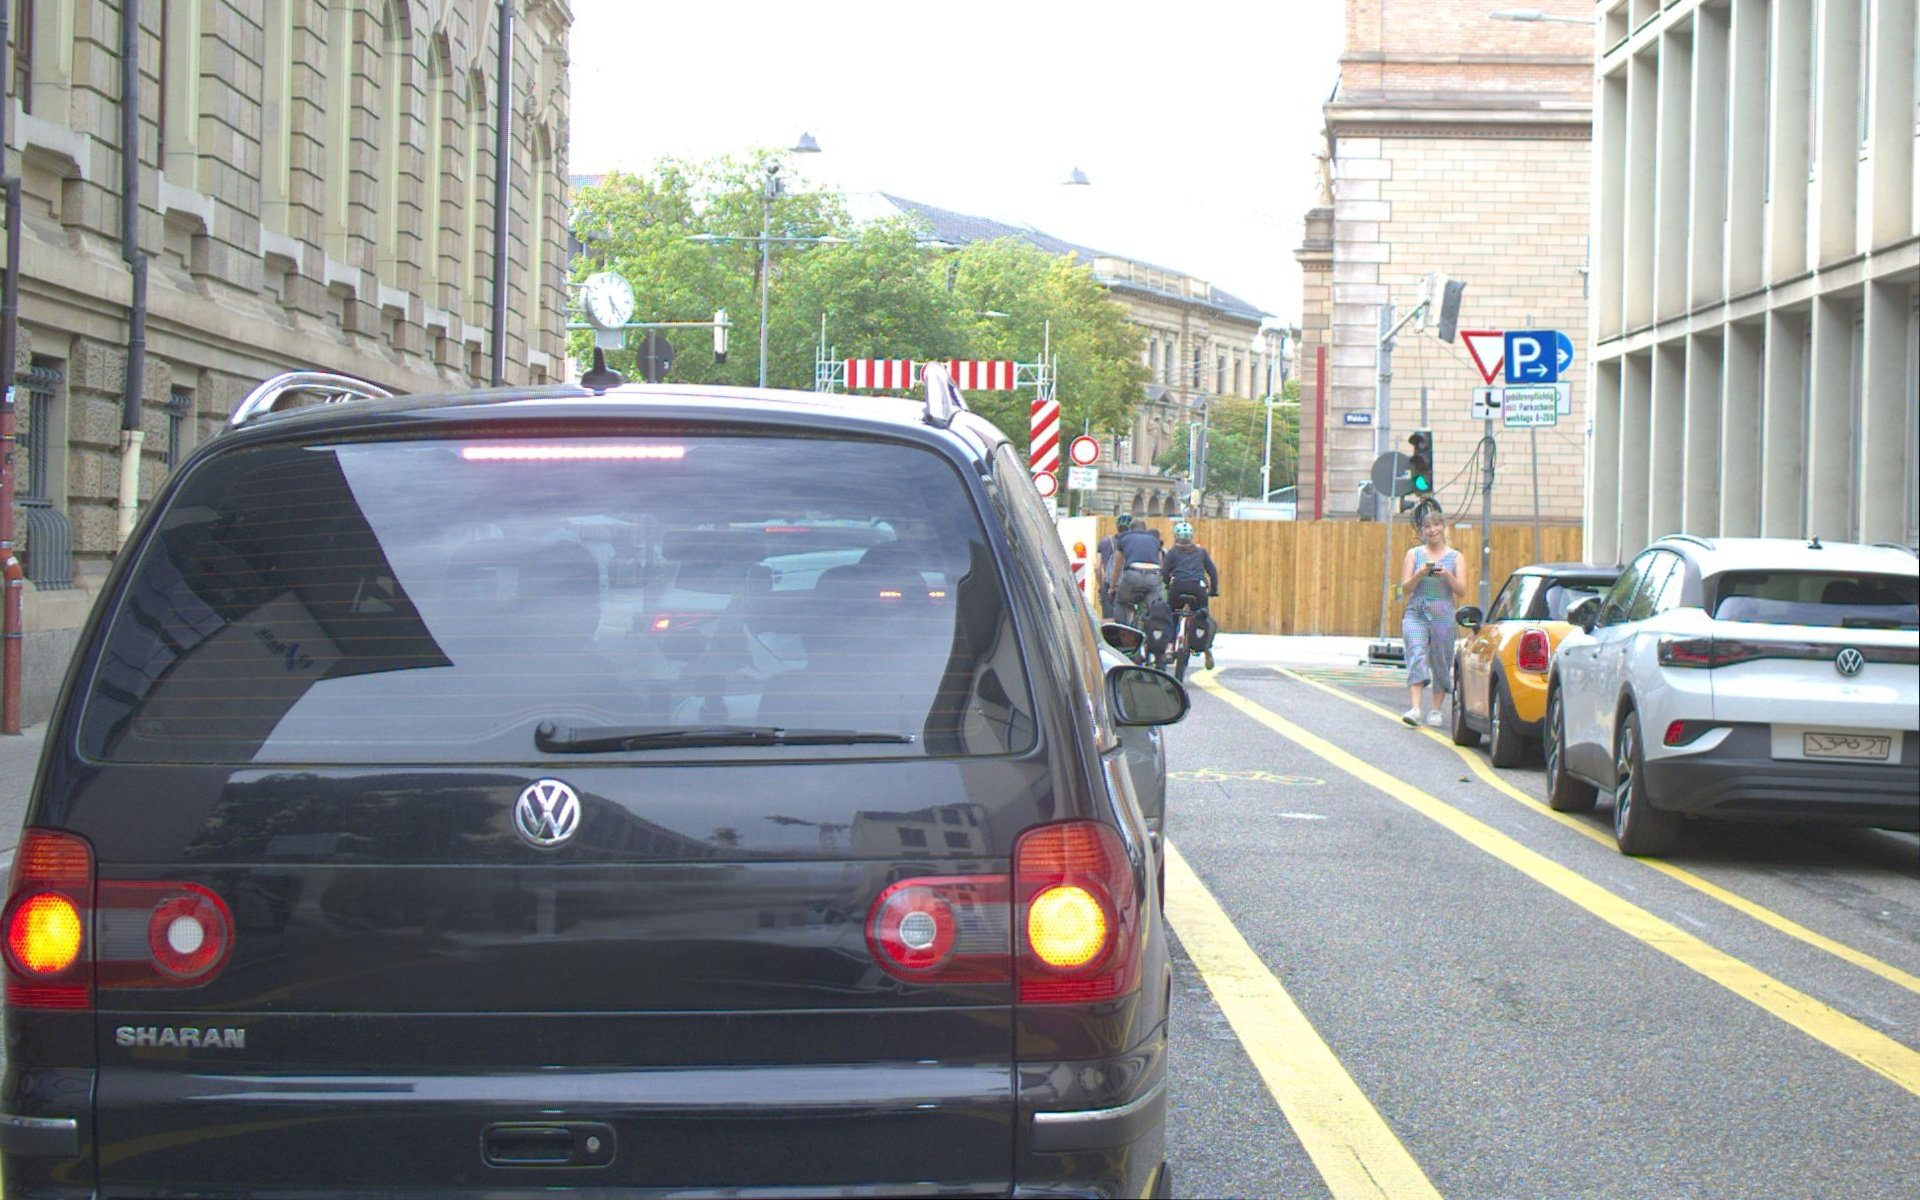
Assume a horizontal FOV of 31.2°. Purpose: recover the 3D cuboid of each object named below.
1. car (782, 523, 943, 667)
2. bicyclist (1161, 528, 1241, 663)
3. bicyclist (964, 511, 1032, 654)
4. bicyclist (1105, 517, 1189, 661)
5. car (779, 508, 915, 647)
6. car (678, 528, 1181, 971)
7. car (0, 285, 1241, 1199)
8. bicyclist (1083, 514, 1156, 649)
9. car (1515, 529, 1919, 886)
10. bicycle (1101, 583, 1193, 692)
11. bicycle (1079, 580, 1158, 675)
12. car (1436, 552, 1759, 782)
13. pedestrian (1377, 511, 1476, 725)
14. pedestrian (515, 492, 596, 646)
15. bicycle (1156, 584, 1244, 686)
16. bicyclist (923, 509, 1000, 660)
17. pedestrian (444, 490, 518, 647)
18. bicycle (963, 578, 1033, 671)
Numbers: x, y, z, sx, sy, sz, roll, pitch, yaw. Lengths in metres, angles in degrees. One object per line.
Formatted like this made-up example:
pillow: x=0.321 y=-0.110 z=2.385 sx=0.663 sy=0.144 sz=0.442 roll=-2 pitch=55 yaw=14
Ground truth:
car: x=-1.107 y=-0.071 z=40.279 sx=1.773 sy=1.580 sz=4.000 roll=1 pitch=1 yaw=-1
bicyclist: x=2.487 y=-0.053 z=35.556 sx=0.735 sy=1.371 sz=0.832 roll=1 pitch=0 yaw=-1
bicyclist: x=0.429 y=-0.197 z=39.156 sx=0.735 sy=1.606 sz=0.695 roll=1 pitch=0 yaw=-1
bicyclist: x=1.814 y=-0.109 z=33.440 sx=0.735 sy=1.372 sz=0.829 roll=1 pitch=0 yaw=-1
car: x=-1.594 y=-0.320 z=47.281 sx=1.734 sy=1.784 sz=4.104 roll=1 pitch=1 yaw=-3
car: x=-0.026 y=0.484 z=13.739 sx=1.678 sy=1.464 sz=4.103 roll=1 pitch=1 yaw=2
car: x=-0.463 y=0.468 z=6.621 sx=1.790 sy=1.784 sz=4.103 roll=1 pitch=1 yaw=2
bicyclist: x=1.763 y=-0.207 z=38.094 sx=0.735 sy=1.465 sz=0.809 roll=1 pitch=0 yaw=-1
car: x=4.257 y=0.504 z=18.534 sx=1.860 sy=1.599 sz=4.512 roll=4 pitch=1 yaw=2
bicycle: x=1.804 y=0.351 z=33.409 sx=0.735 sy=1.005 sz=2.069 roll=1 pitch=1 yaw=-1
bicycle: x=1.748 y=0.291 z=38.173 sx=0.735 sy=1.005 sz=2.069 roll=1 pitch=1 yaw=-1
car: x=4.549 y=0.427 z=25.028 sx=1.680 sy=1.430 sz=3.886 roll=4 pitch=1 yaw=2
pedestrian: x=3.892 y=0.145 z=28.717 sx=0.703 sy=1.757 sz=0.700 roll=1 pitch=0 yaw=-1
pedestrian: x=-4.921 y=-0.377 z=41.898 sx=0.792 sy=1.813 sz=1.048 roll=3 pitch=0 yaw=-1
bicycle: x=2.477 y=0.348 z=35.653 sx=0.735 sy=1.005 sz=2.069 roll=1 pitch=1 yaw=-1
bicyclist: x=0.008 y=-0.154 z=34.091 sx=0.735 sy=1.473 sz=0.884 roll=1 pitch=0 yaw=-1
pedestrian: x=-5.665 y=-0.375 z=40.715 sx=0.664 sy=1.813 sz=1.048 roll=3 pitch=0 yaw=-1
bicycle: x=0.425 y=0.263 z=39.134 sx=0.735 sy=1.005 sz=2.069 roll=1 pitch=1 yaw=-1
